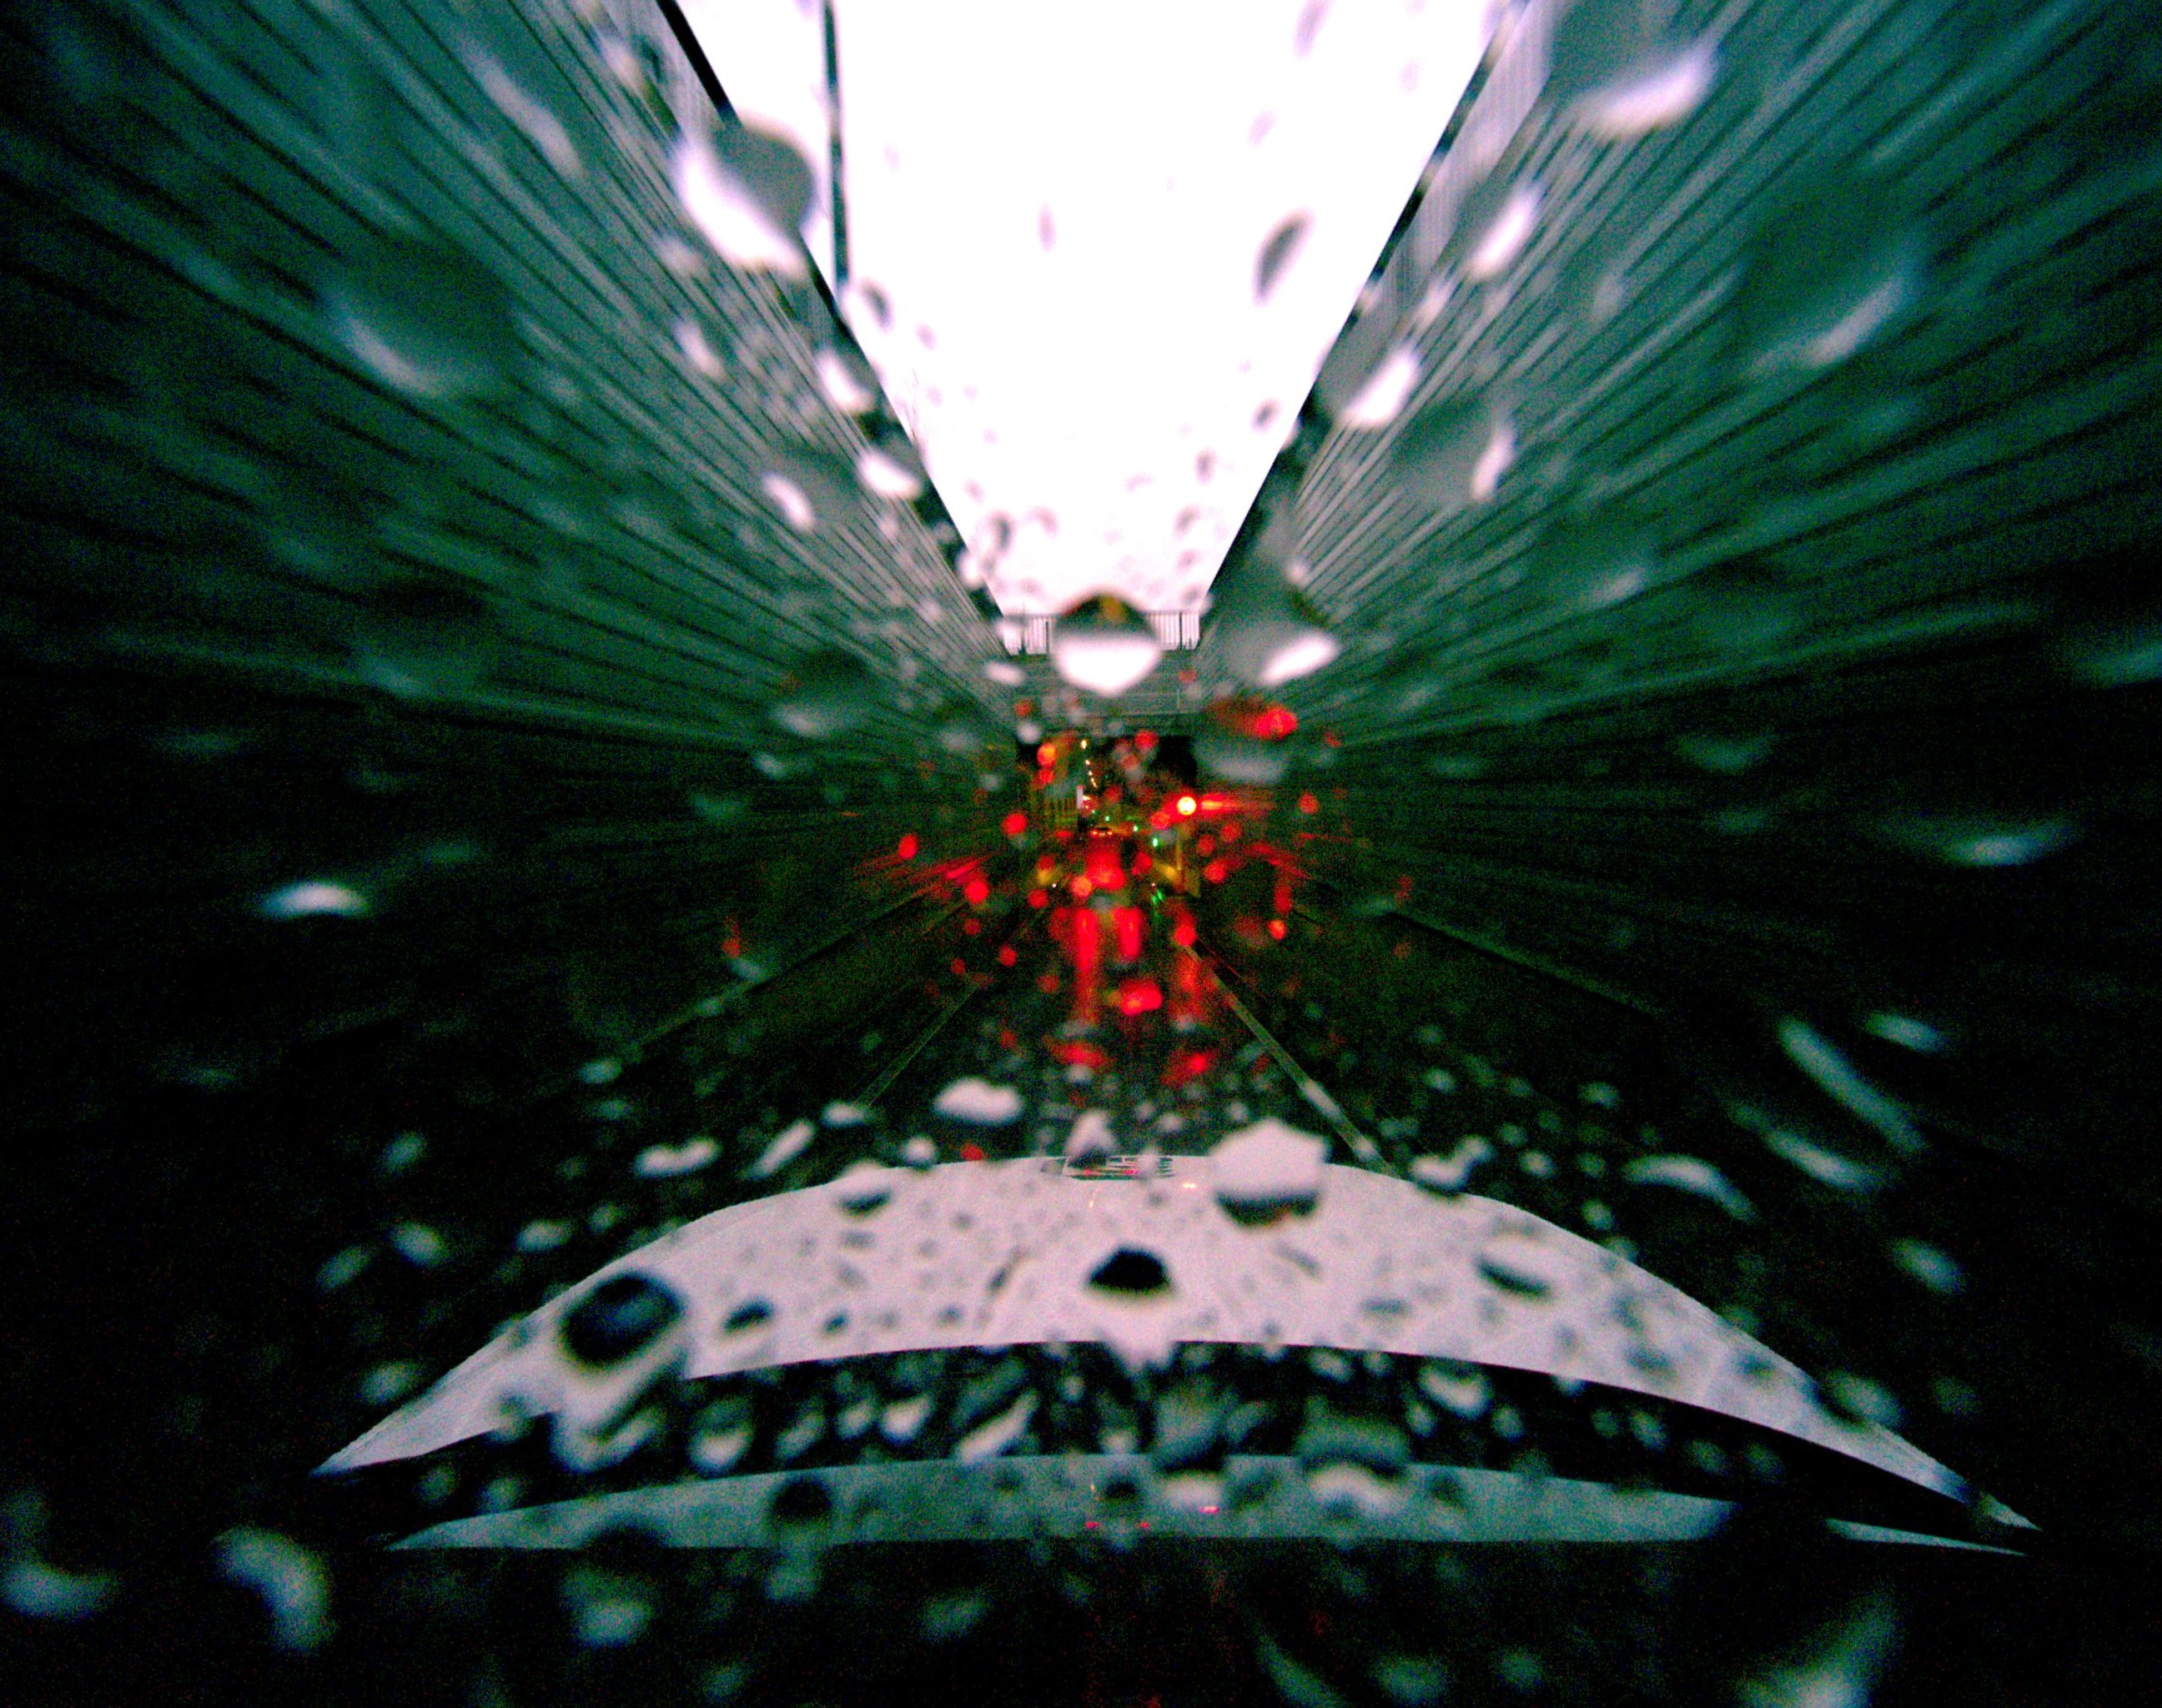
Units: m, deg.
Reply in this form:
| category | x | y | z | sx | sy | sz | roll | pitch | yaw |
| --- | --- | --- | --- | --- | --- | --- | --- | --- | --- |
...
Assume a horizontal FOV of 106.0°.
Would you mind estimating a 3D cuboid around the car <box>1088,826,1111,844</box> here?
| category | x | y | z | sx | sy | sz | roll | pitch | yaw |
| --- | --- | --- | --- | --- | --- | --- | --- | --- | --- |
| car | 1.610 | -1.675 | 71.323 | 1.913 | 1.485 | 4.001 | 0 | 3 | 0 |

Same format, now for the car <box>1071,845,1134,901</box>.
| category | x | y | z | sx | sy | sz | roll | pitch | yaw |
| --- | --- | --- | --- | --- | --- | --- | --- | --- | --- |
| car | 0.697 | 0.497 | 24.443 | 1.715 | 1.479 | 4.004 | 0 | 1 | 3 |
